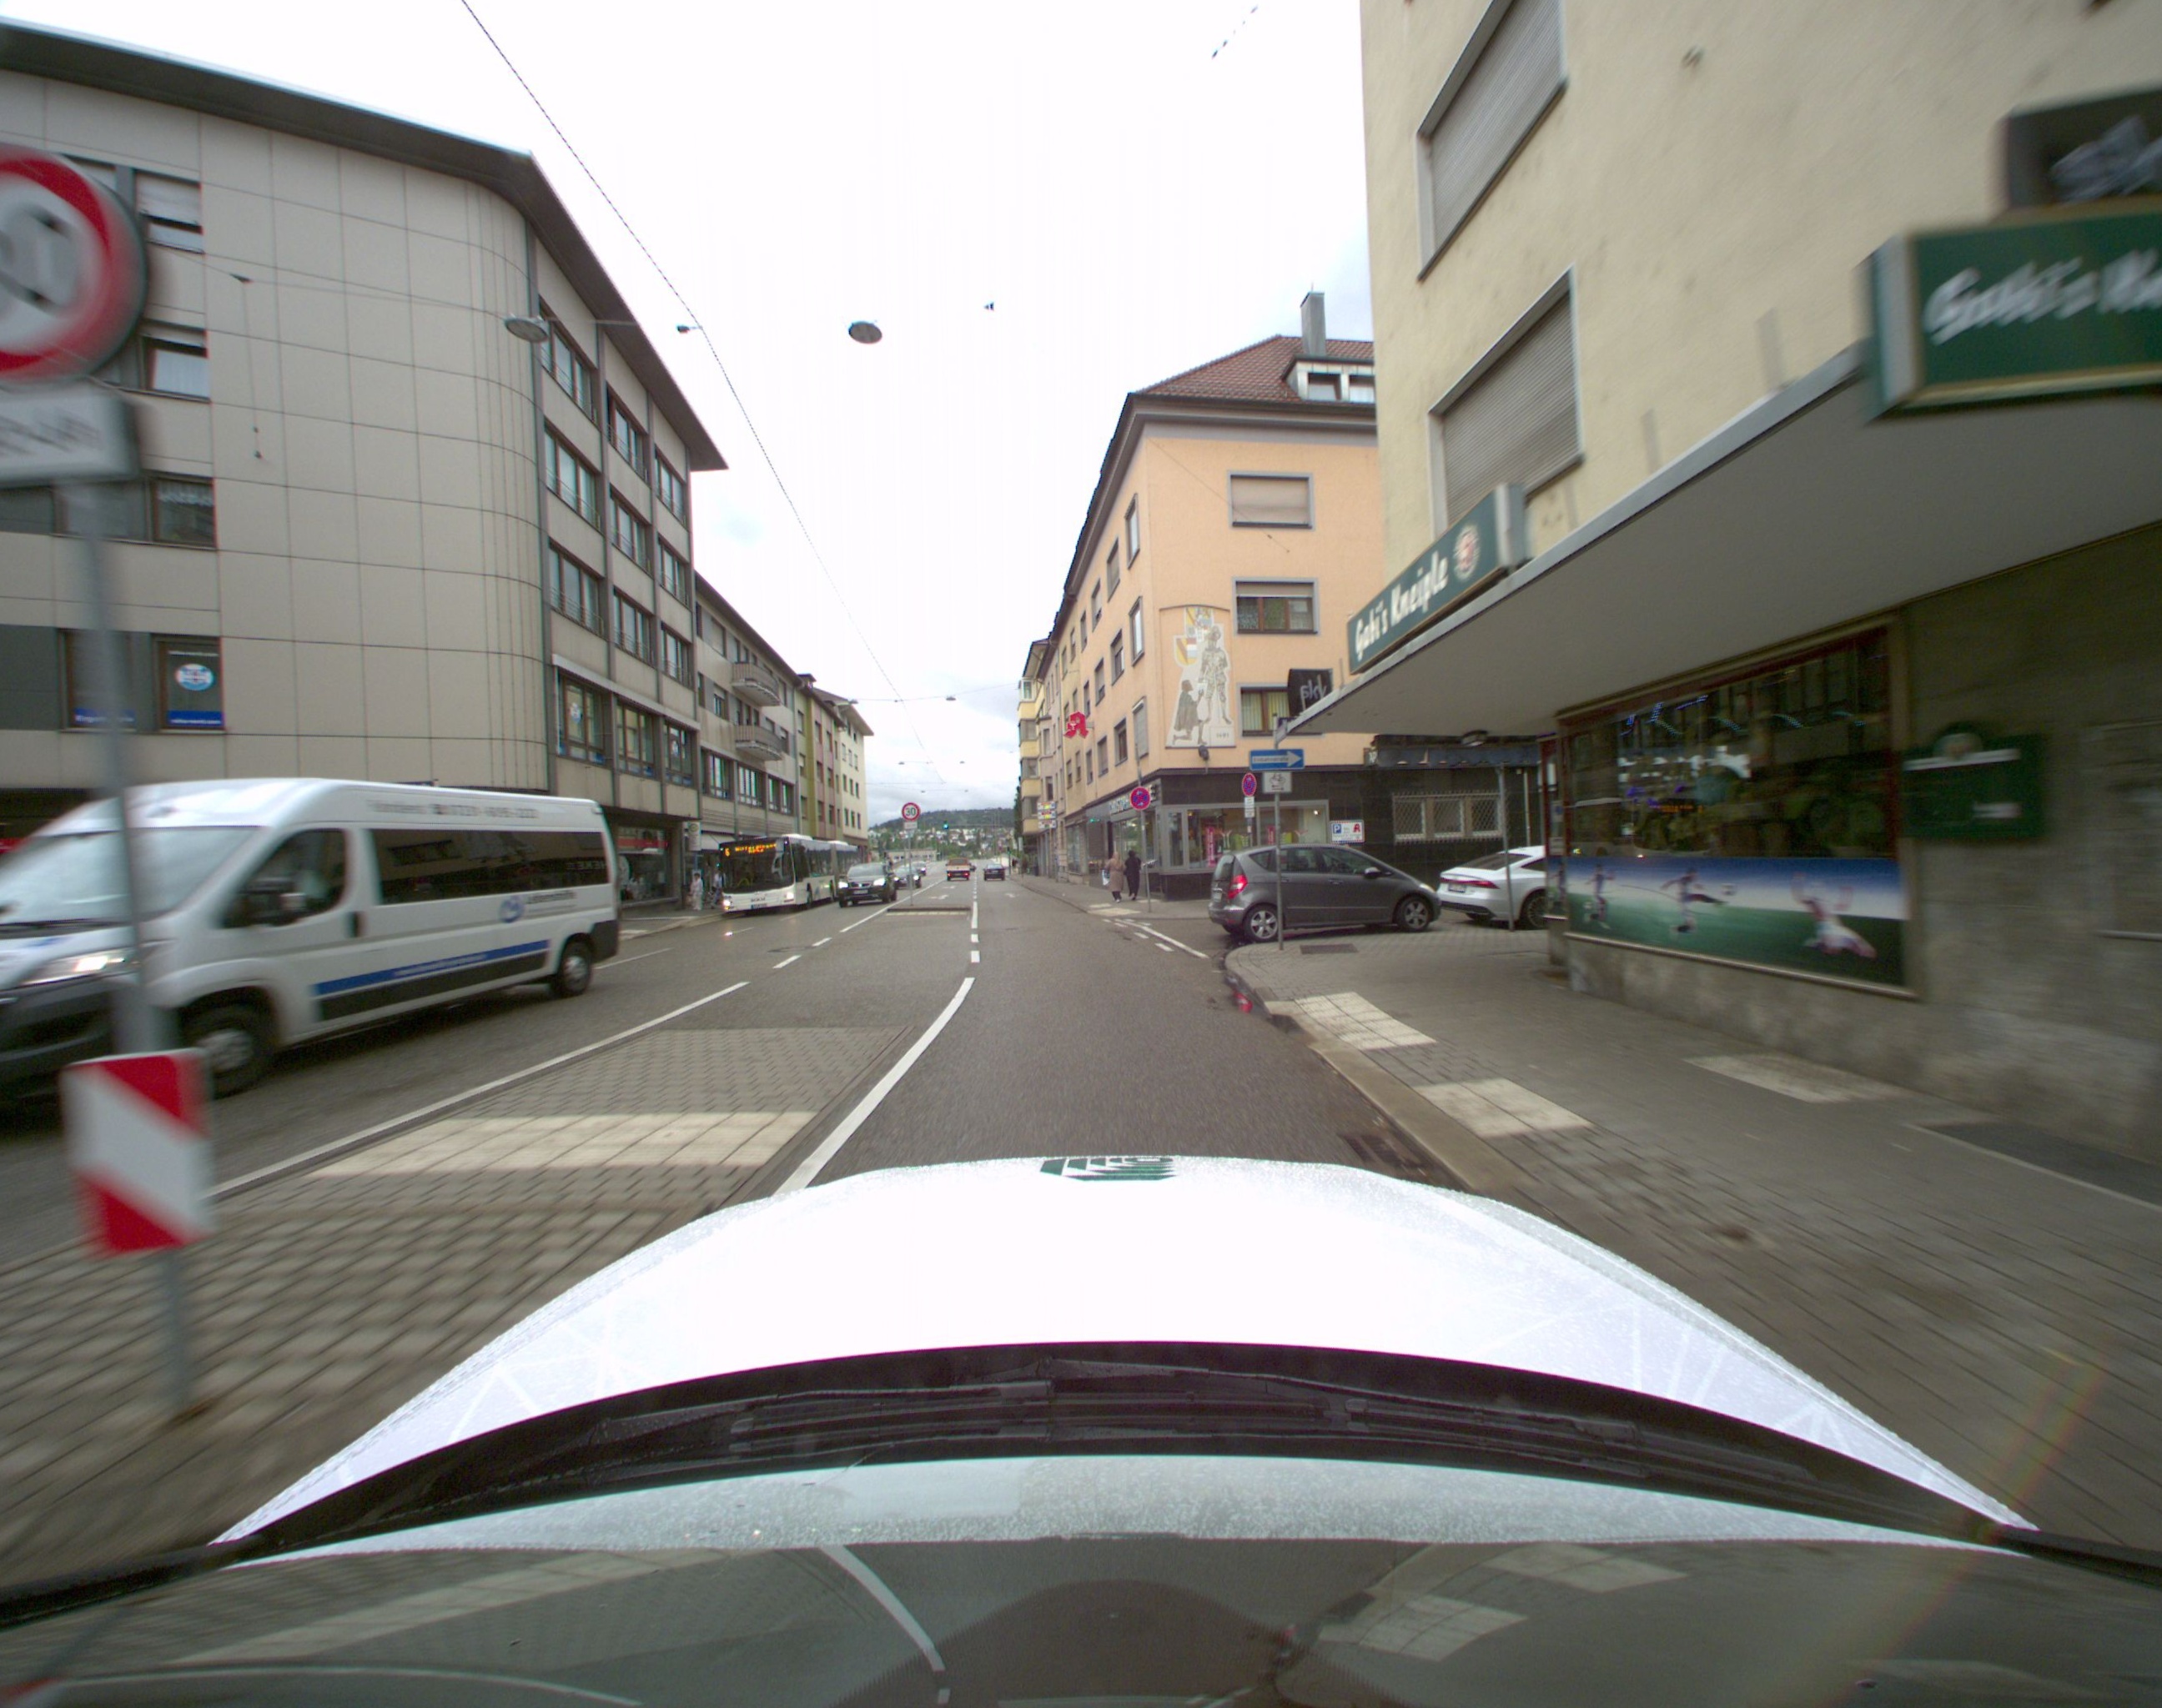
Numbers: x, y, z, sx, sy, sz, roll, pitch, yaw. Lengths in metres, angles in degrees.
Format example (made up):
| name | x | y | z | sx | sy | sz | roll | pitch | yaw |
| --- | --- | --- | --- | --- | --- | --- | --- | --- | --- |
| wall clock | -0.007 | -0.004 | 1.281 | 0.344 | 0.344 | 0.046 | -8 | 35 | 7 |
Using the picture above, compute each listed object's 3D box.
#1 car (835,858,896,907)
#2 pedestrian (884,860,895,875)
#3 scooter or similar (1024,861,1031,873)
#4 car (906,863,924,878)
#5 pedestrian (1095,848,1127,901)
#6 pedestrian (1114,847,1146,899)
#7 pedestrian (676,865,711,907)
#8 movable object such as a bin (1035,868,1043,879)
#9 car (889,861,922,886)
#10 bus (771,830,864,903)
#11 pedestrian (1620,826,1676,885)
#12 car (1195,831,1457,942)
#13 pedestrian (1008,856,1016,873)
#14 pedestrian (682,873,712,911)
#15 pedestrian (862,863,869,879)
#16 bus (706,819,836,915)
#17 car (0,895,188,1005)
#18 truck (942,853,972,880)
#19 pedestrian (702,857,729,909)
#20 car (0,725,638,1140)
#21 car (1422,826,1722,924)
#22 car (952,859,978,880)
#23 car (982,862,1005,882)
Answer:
| name | x | y | z | sx | sy | sz | roll | pitch | yaw |
| --- | --- | --- | --- | --- | --- | --- | --- | --- | --- |
| car | -8.326 | 1.034 | 31.821 | 1.743 | 1.662 | 4.404 | -3 | 0 | -9 |
| pedestrian | -25.695 | 1.831 | 109.250 | 0.978 | 2.014 | 1.175 | -3 | -1 | 3 |
| scooter or similar | -5.476 | 1.297 | 83.204 | 0.510 | 1.172 | 1.545 | -3 | -1 | -7 |
| car | -20.782 | 2.018 | 101.860 | 1.931 | 1.757 | 4.558 | -3 | -1 | -9 |
| pedestrian | 0.931 | 0.628 | 25.255 | 0.778 | 1.560 | 0.780 | -3 | -1 | -10 |
| pedestrian | 1.521 | 0.576 | 25.433 | 0.768 | 1.560 | 0.873 | -3 | -1 | -9 |
| pedestrian | -15.311 | 1.259 | 32.229 | 0.944 | 1.589 | 0.833 | -3 | -1 | -6 |
| movable object such as a bin | -3.668 | 1.677 | 70.523 | 0.600 | 0.926 | 0.702 | -3 | -1 | -8 |
| car | -11.196 | 1.248 | 52.182 | 1.708 | 1.451 | 4.073 | -3 | -1 | -9 |
| bus | -13.206 | 0.639 | 41.672 | 2.724 | 3.188 | 9.267 | -3 | -1 | -8 |
| pedestrian | 16.759 | 0.046 | 24.094 | 0.858 | 1.667 | 0.949 | -3 | -1 | -12 |
| car | 4.079 | 0.522 | 13.984 | 3.819 | 1.574 | 1.933 | -3 | -1 | -6 |
| pedestrian | -7.667 | 1.145 | 90.709 | 0.733 | 1.841 | 0.629 | -3 | -1 | -10 |
| pedestrian | -14.643 | 1.434 | 31.058 | 0.767 | 1.396 | 0.785 | -3 | -1 | -6 |
| pedestrian | -21.621 | 1.740 | 81.774 | 0.575 | 1.553 | 0.737 | -3 | -1 | -11 |
| bus | -12.039 | 0.499 | 32.633 | 2.757 | 3.188 | 8.887 | -3 | -1 | -8 |
| car | -17.410 | 1.549 | 12.436 | 4.655 | 1.533 | 1.889 | -3 | -1 | -28 |
| truck | -10.816 | 1.124 | 71.121 | 2.398 | 2.129 | 5.300 | -3 | -1 | -8 |
| pedestrian | -14.446 | 1.127 | 32.202 | 0.678 | 2.014 | 0.775 | -3 | -1 | -6 |
| car | -7.109 | 0.537 | 7.955 | 2.080 | 2.435 | 6.349 | -3 | -1 | -1 |
| car | 8.851 | 0.355 | 14.905 | 4.471 | 1.442 | 1.783 | -3 | -1 | -5 |
| car | -13.641 | 1.797 | 95.816 | 1.986 | 2.350 | 5.012 | -3 | -1 | 2 |
| car | -7.252 | 1.489 | 67.546 | 1.753 | 1.479 | 3.989 | -3 | -1 | -7 |
